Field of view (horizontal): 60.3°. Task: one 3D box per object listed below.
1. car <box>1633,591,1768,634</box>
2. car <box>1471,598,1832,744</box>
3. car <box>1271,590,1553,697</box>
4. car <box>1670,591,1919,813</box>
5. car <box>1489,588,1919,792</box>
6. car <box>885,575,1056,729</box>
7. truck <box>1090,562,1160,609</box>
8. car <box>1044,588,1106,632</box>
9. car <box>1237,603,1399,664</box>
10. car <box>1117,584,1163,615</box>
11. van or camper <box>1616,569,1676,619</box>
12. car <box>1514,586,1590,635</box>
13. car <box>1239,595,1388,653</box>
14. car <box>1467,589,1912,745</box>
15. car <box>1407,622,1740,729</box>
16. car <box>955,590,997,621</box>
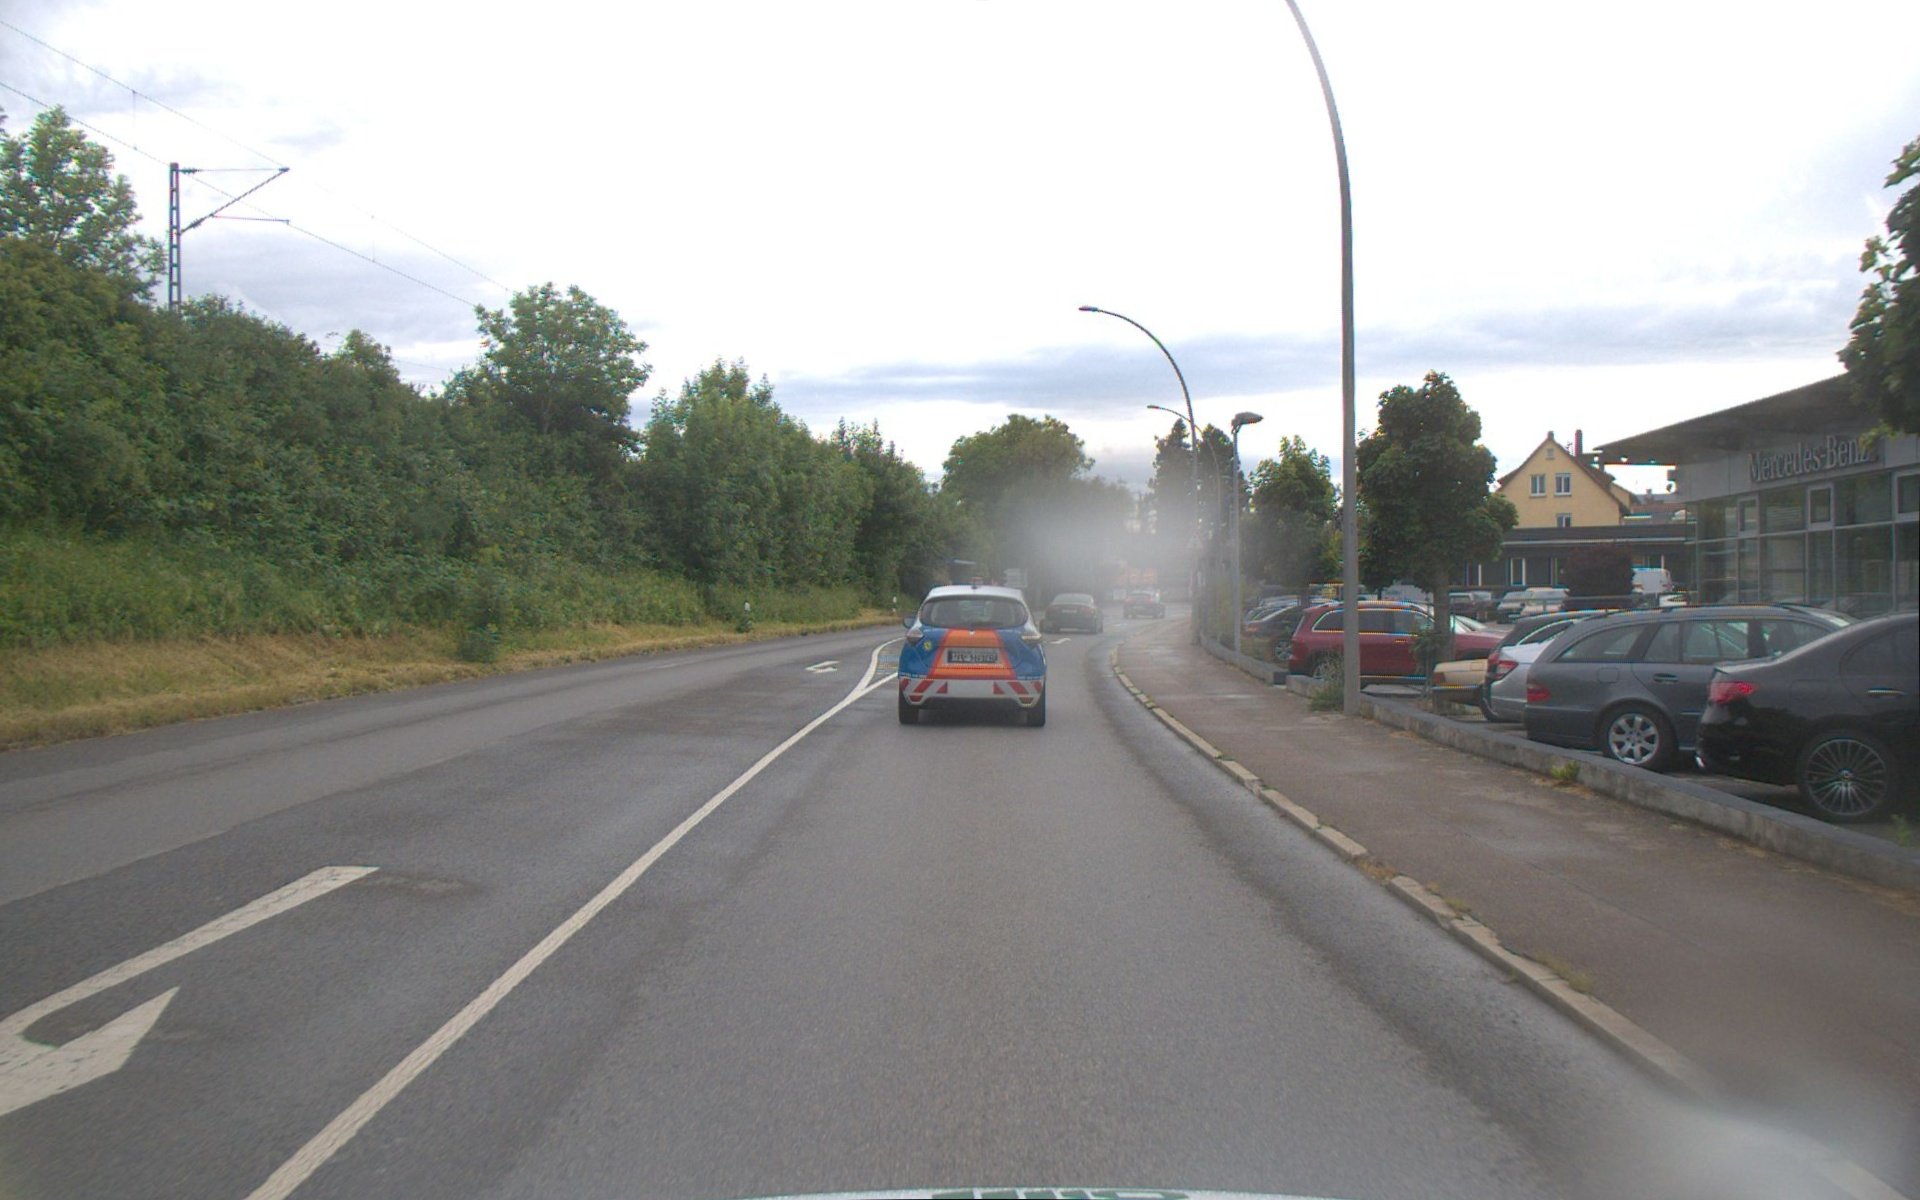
[{"bbox_3d":[28.336,0.464,63.312,4.549,1.424,1.717,2,-1,30],"label":"car"},{"bbox_3d":[8.573,0.832,20.549,3.884,1.518,1.971,2,-1,31],"label":"car"},{"bbox_3d":[8.253,0.775,30.294,4.597,1.691,1.995,2,-1,31],"label":"car"},{"bbox_3d":[7.545,0.702,11.744,4.350,1.505,1.929,1,0,33],"label":"car"},{"bbox_3d":[7.181,0.768,15.305,3.923,1.583,1.890,2,-1,38],"label":"car"},{"bbox_3d":[0.095,0.552,20.003,1.850,1.660,4.000,0,0,-1],"label":"car"},{"bbox_3d":[13.825,-1.198,137.979,2.645,3.471,9.060,2,-1,27],"label":"truck"},{"bbox_3d":[4.074,0.380,58.002,1.684,1.400,3.937,2,-1,11],"label":"car"},{"bbox_3d":[9.547,0.890,44.373,4.021,1.394,2.001,3,-1,6],"label":"car"},{"bbox_3d":[9.448,0.000,86.496,1.951,1.445,4.003,2,-1,12],"label":"car"},{"bbox_3d":[30.462,-0.233,73.345,1.955,1.972,5.423,2,-1,27],"label":"van or camper"},{"bbox_3d":[19.624,0.364,54.710,1.954,1.445,3.997,2,-1,25],"label":"car"},{"bbox_3d":[9.986,0.691,46.914,3.904,1.433,1.594,3,-1,3],"label":"car"},{"bbox_3d":[7.772,0.679,17.763,4.090,1.493,1.830,-1,-1,35],"label":"car"},{"bbox_3d":[8.568,1.025,23.179,4.145,1.324,1.731,0,-2,31],"label":"car"},{"bbox_3d":[0.891,0.320,89.752,1.952,1.499,4.702,3,-1,4],"label":"car"}]
